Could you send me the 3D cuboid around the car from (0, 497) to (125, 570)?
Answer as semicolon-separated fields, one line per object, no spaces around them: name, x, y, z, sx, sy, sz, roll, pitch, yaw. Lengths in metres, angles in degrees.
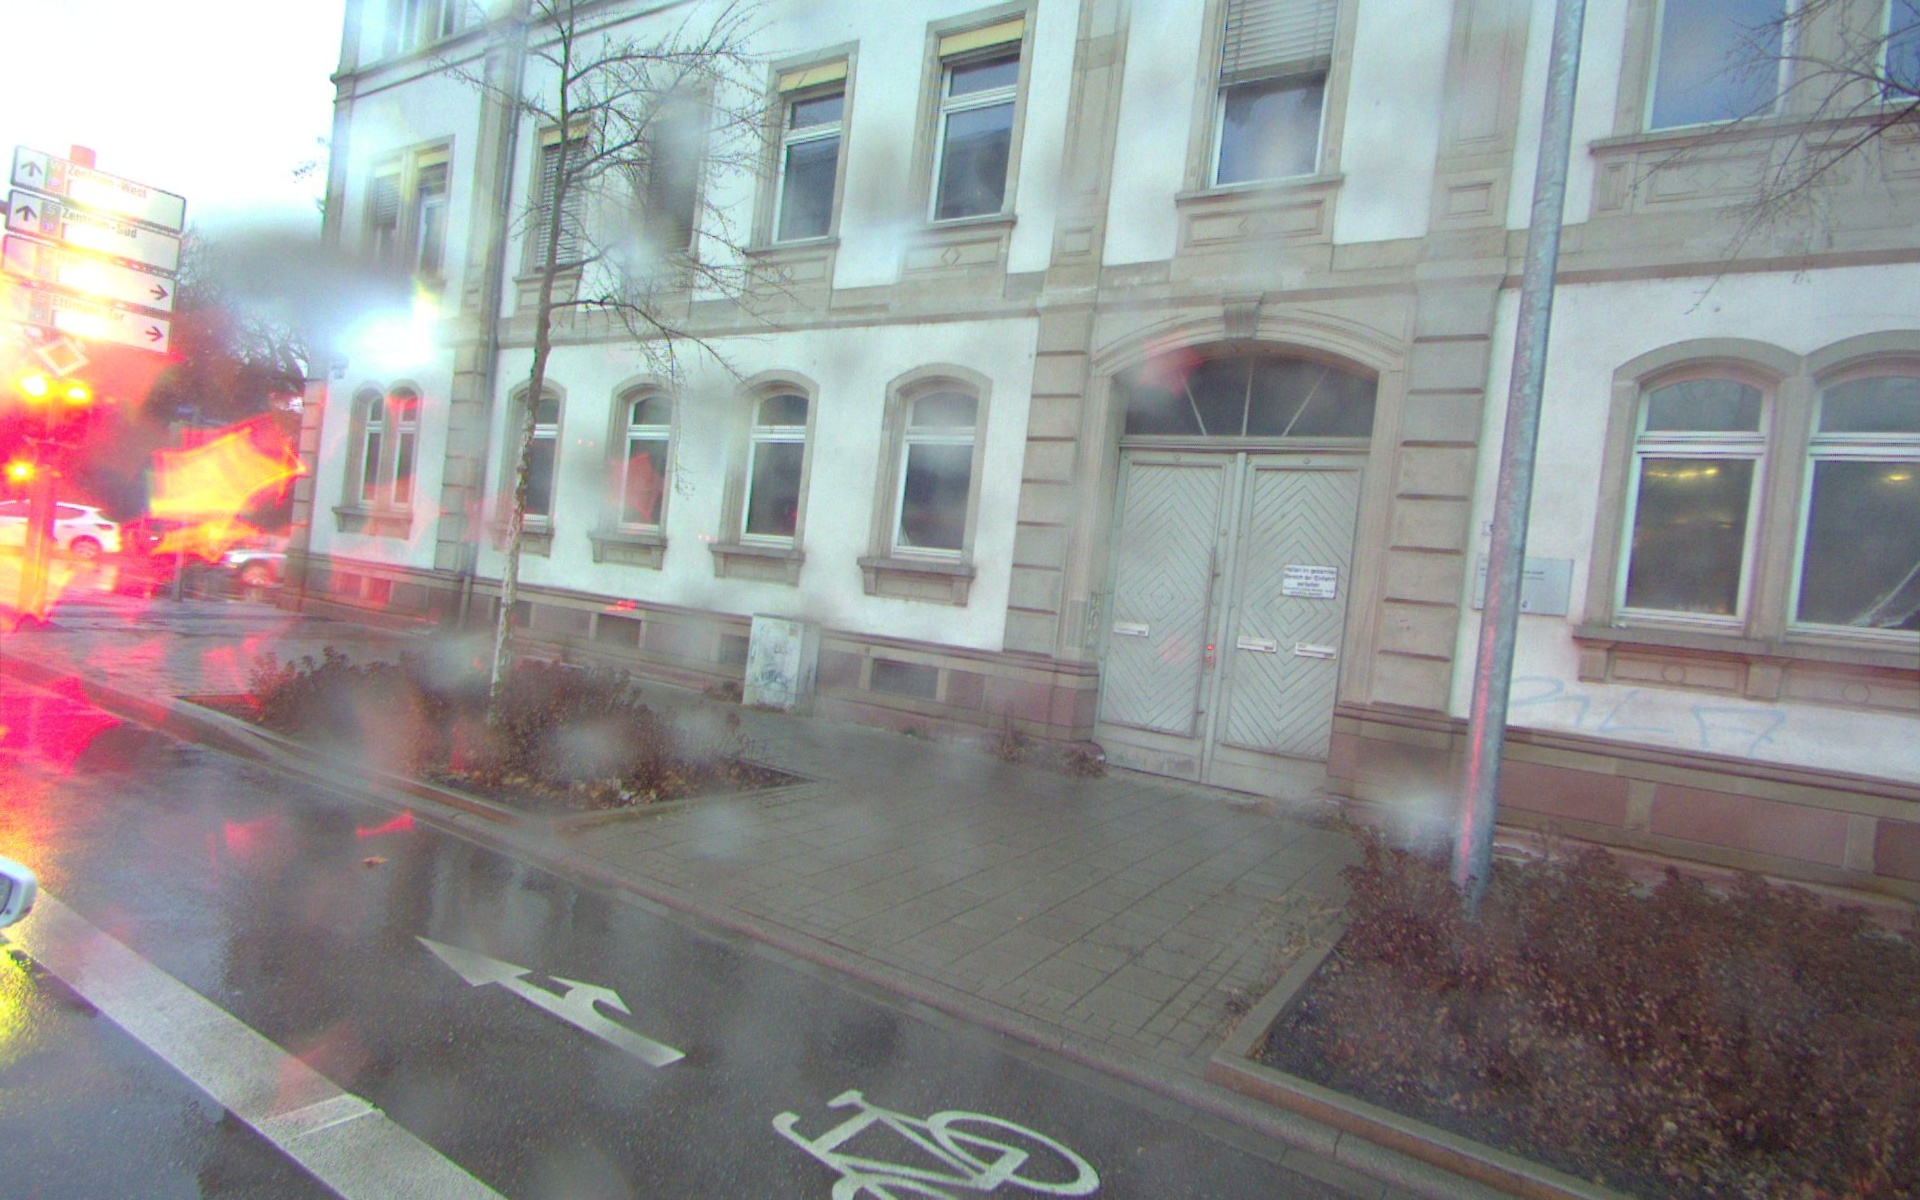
car;-25.476;-1.894;27.443;3.938;1.571;1.732;9;-3;-38

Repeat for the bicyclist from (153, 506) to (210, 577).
bicyclist;-21.141;-1.579;27.314;0.969;1.778;0.804;9;-2;-43

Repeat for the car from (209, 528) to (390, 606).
car;-17.565;-0.860;26.844;1.608;1.494;3.682;5;-4;45

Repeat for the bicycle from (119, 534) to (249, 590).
bicycle;-21.098;-1.027;27.417;2.660;1.101;0.805;10;-3;-43
